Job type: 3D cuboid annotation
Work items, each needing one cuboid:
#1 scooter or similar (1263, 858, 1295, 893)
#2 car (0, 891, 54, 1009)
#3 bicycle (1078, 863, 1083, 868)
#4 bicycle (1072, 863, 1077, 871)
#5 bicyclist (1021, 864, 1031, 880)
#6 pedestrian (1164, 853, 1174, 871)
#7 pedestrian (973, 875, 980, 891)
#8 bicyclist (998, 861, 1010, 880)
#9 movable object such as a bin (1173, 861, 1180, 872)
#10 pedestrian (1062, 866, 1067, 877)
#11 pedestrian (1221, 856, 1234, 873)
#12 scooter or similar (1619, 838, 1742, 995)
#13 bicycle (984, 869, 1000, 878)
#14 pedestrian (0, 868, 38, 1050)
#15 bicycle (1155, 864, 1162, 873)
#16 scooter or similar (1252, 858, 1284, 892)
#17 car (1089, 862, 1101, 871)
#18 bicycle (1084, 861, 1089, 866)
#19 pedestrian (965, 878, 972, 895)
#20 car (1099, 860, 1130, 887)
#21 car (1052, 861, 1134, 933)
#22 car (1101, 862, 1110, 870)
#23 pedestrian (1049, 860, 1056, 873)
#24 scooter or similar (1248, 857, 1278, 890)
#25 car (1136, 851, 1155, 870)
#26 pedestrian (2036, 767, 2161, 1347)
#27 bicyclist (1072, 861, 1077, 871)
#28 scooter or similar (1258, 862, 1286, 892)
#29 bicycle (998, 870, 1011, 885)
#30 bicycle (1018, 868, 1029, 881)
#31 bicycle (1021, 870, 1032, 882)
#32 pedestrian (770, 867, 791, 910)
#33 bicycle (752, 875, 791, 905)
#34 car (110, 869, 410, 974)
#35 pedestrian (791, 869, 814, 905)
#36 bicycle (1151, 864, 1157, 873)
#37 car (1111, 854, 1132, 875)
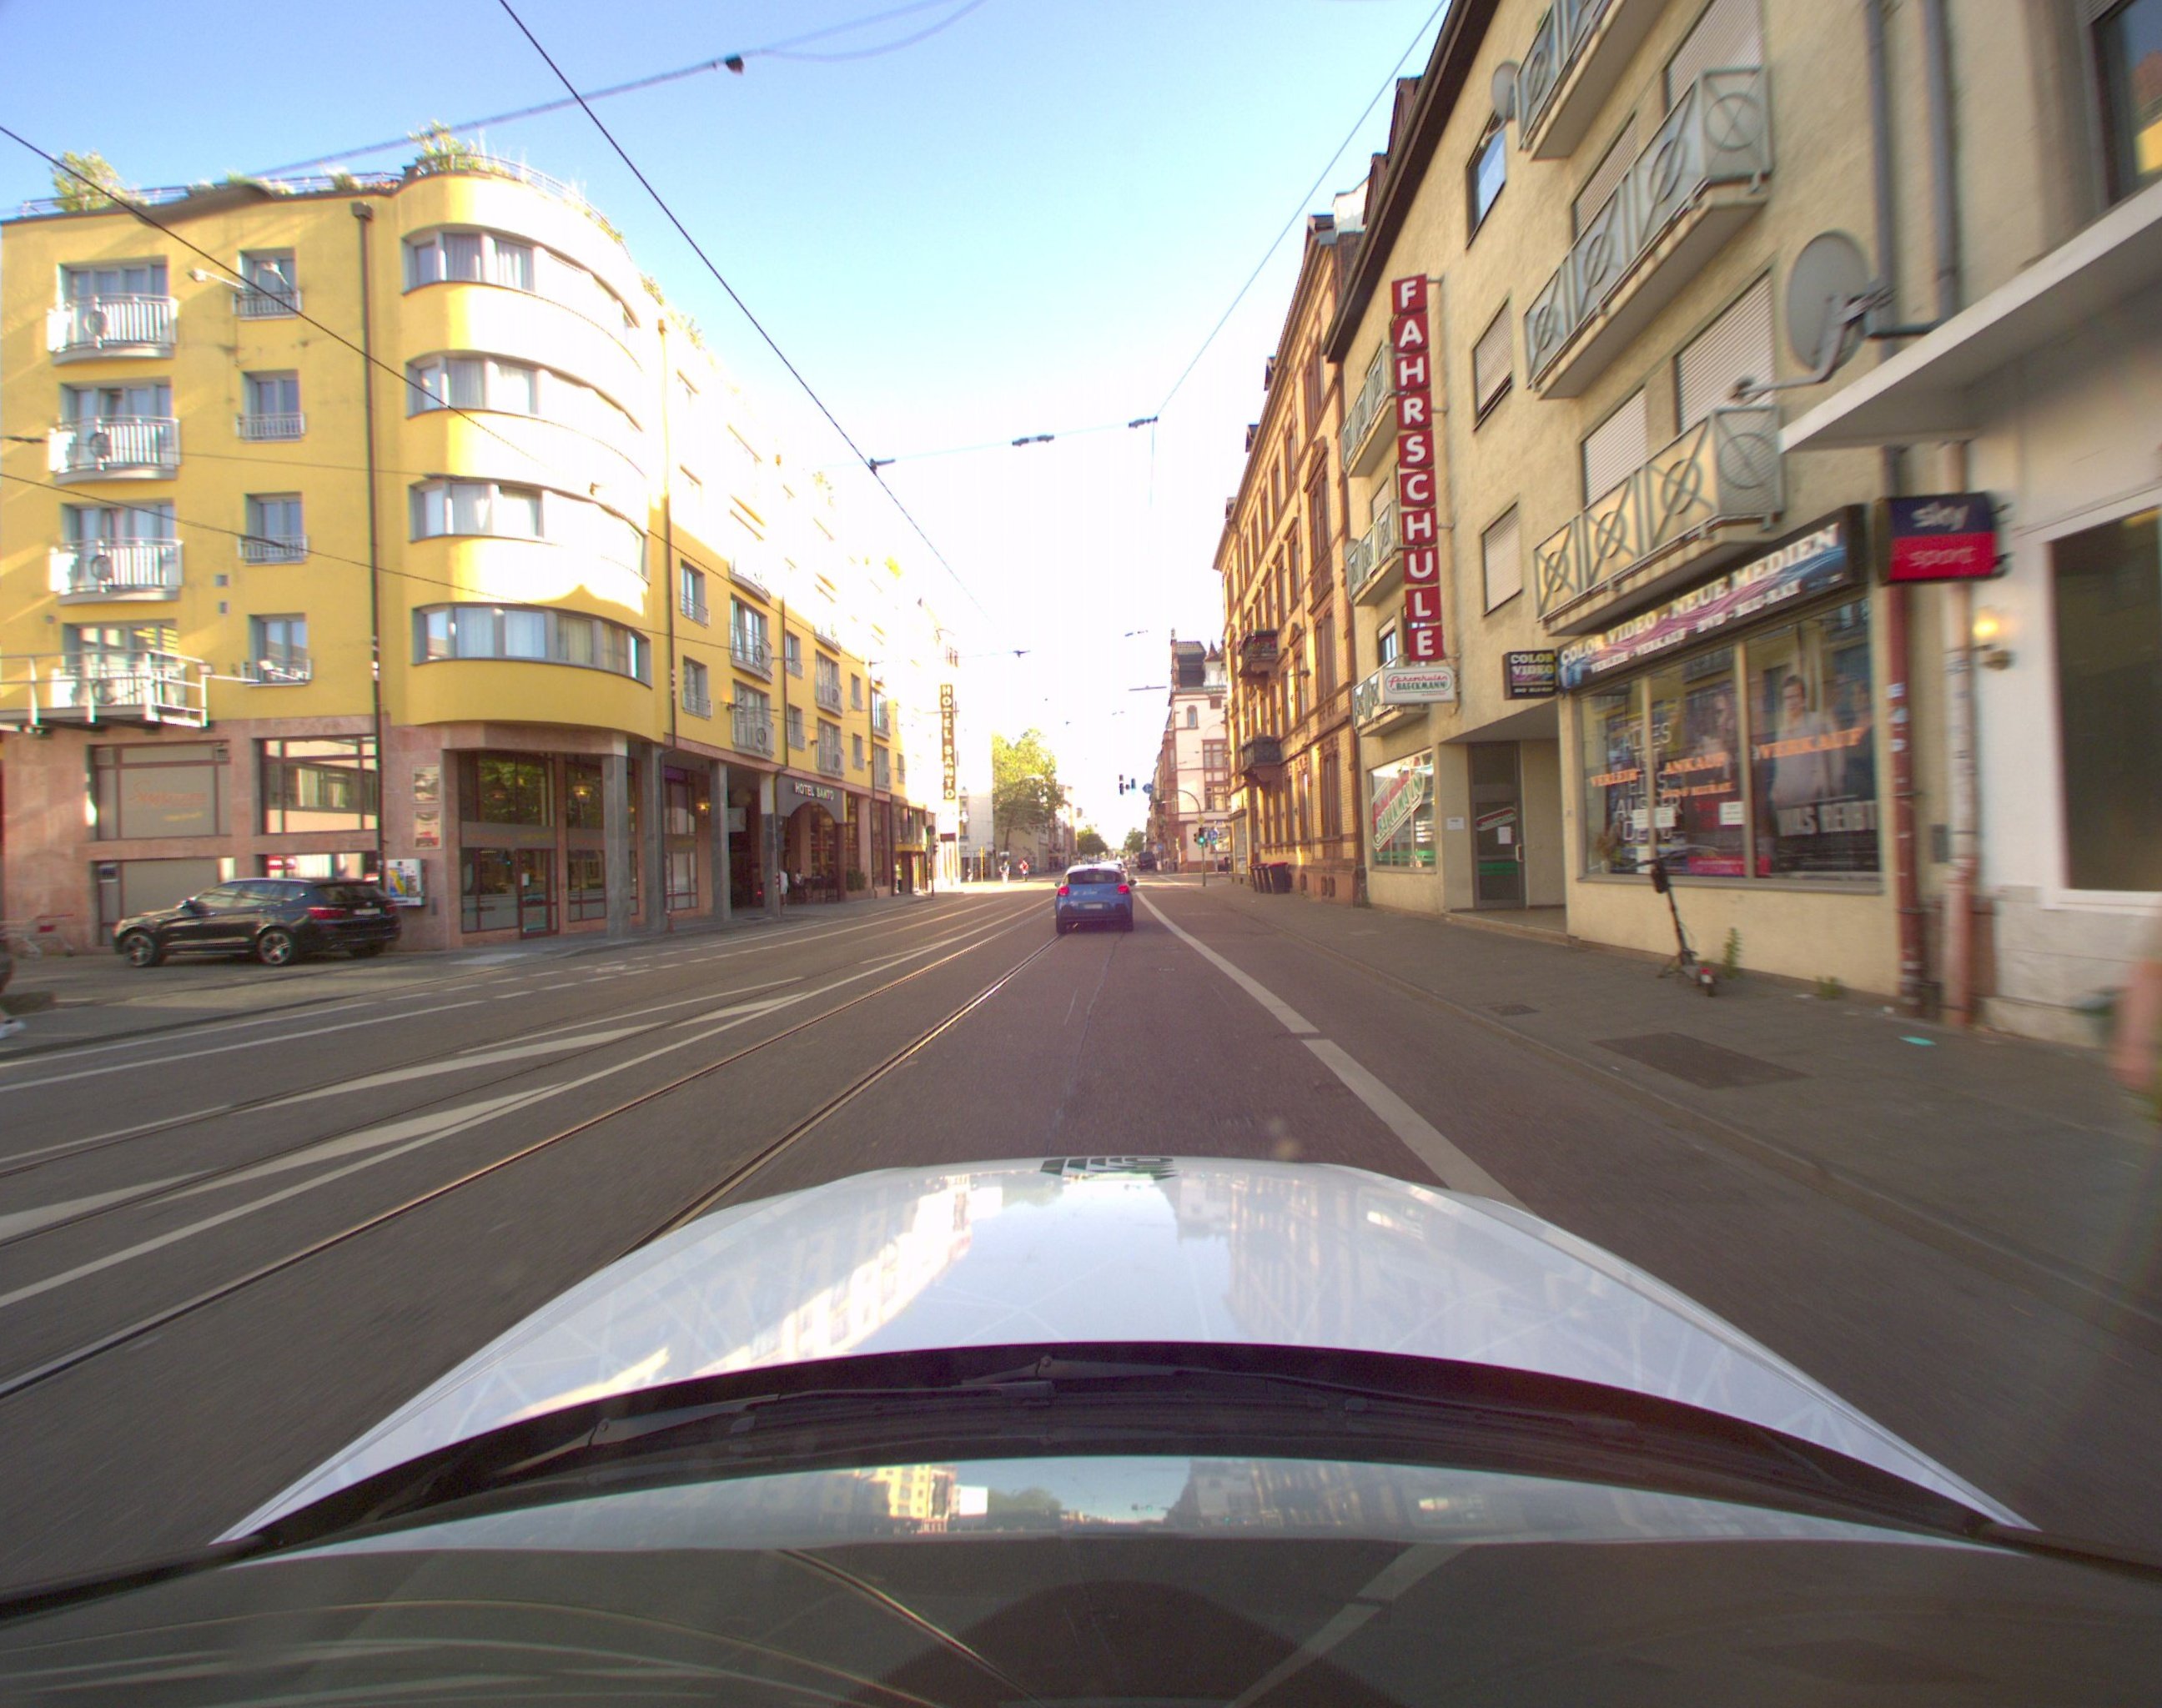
[{"bbox_3d":[6.887,0.740,28.344,0.787,1.148,0.790,-6,-1,1],"label":"scooter or similar"},{"bbox_3d":[-16.365,1.366,10.455,4.216,1.548,1.786,-3,-3,2],"label":"car"},{"bbox_3d":[-0.086,2.815,203.373,1.118,1.319,3.640,-3,-1,-2],"label":"bicycle"},{"bbox_3d":[-1.030,2.042,128.977,0.690,1.120,2.085,-2,0,2],"label":"bicycle"},{"bbox_3d":[-4.825,1.566,71.649,0.732,1.381,1.469,-2,-1,2],"label":"bicyclist"},{"bbox_3d":[9.532,0.894,88.257,0.703,1.781,0.673,-15,-1,1],"label":"pedestrian"},{"bbox_3d":[-10.519,2.941,81.904,0.540,1.552,0.516,-2,-1,1],"label":"pedestrian"},{"bbox_3d":[-5.859,1.214,61.670,0.721,1.381,1.228,-2,-1,1],"label":"bicyclist"},{"bbox_3d":[9.955,1.294,85.017,0.664,1.153,0.594,-2,-1,0],"label":"movable object such as a bin"},{"bbox_3d":[-2.675,2.786,129.138,0.708,1.764,0.571,-3,-1,1],"label":"pedestrian"},{"bbox_3d":[12.822,0.897,71.287,0.930,1.457,0.827,-2,-1,17],"label":"pedestrian"},{"bbox_3d":[5.452,0.529,7.478,0.407,1.281,1.290,-8,-2,19],"label":"scooter or similar"},{"bbox_3d":[-11.379,2.519,104.157,1.897,1.034,0.669,-2,-1,29],"label":"bicycle"},{"bbox_3d":[-11.971,1.141,8.729,0.635,1.946,0.709,-2,-1,1],"label":"pedestrian"},{"bbox_3d":[8.643,1.614,90.848,0.430,0.947,1.761,-2,-1,-4],"label":"bicycle"},{"bbox_3d":[6.885,0.762,30.041,0.930,1.148,0.650,-6,-1,1],"label":"scooter or similar"},{"bbox_3d":[2.596,2.370,151.138,1.978,1.502,4.310,-3,-1,2],"label":"car"},{"bbox_3d":[1.352,2.295,203.154,1.118,1.146,3.640,-3,-1,-2],"label":"bicycle"},{"bbox_3d":[-9.318,2.684,67.486,0.402,1.410,0.516,-2,-1,1],"label":"pedestrian"},{"bbox_3d":[1.973,1.120,47.744,1.661,1.478,4.002,-3,-1,2],"label":"car"},{"bbox_3d":[0.330,0.924,19.169,1.667,1.477,4.002,-2,-1,2],"label":"car"},{"bbox_3d":[5.800,2.746,189.923,1.986,1.744,4.564,-2,-1,2],"label":"car"},{"bbox_3d":[-4.041,1.775,116.941,0.677,1.765,1.029,-2,-1,13],"label":"pedestrian"},{"bbox_3d":[6.926,0.742,31.048,0.894,1.148,0.547,-6,-1,1],"label":"scooter or similar"},{"bbox_3d":[8.765,0.842,111.071,2.262,2.437,5.724,-2,-1,3],"label":"car"},{"bbox_3d":[3.285,0.534,2.337,0.785,1.560,0.642,-1,-1,-41],"label":"pedestrian"},{"bbox_3d":[-1.045,1.888,128.824,0.680,1.483,0.779,-2,-1,2],"label":"bicyclist"},{"bbox_3d":[6.852,0.815,29.246,0.787,0.957,0.680,-6,-1,1],"label":"scooter or similar"},{"bbox_3d":[-5.832,1.758,61.953,0.728,1.088,2.062,-2,-1,2],"label":"bicycle"},{"bbox_3d":[-5.219,1.860,74.424,0.728,1.183,2.062,-2,-1,2],"label":"bicycle"},{"bbox_3d":[-4.834,1.922,71.704,0.728,1.065,2.062,-2,-1,2],"label":"bicycle"},{"bbox_3d":[-12.712,1.452,34.431,0.558,1.770,0.724,-1,-2,7],"label":"pedestrian"},{"bbox_3d":[-13.275,1.534,34.973,0.578,1.203,2.085,-2,-1,8],"label":"bicycle"},{"bbox_3d":[-16.204,1.291,16.212,4.216,1.812,1.786,-2,-1,2],"label":"car"},{"bbox_3d":[-12.294,1.447,35.997,0.701,1.547,0.602,-2,-1,7],"label":"pedestrian"},{"bbox_3d":[8.135,1.625,90.824,0.430,0.947,1.761,-2,-1,-4],"label":"bicycle"},{"bbox_3d":[4.034,1.082,82.591,1.986,2.014,4.002,-3,-1,2],"label":"car"}]
